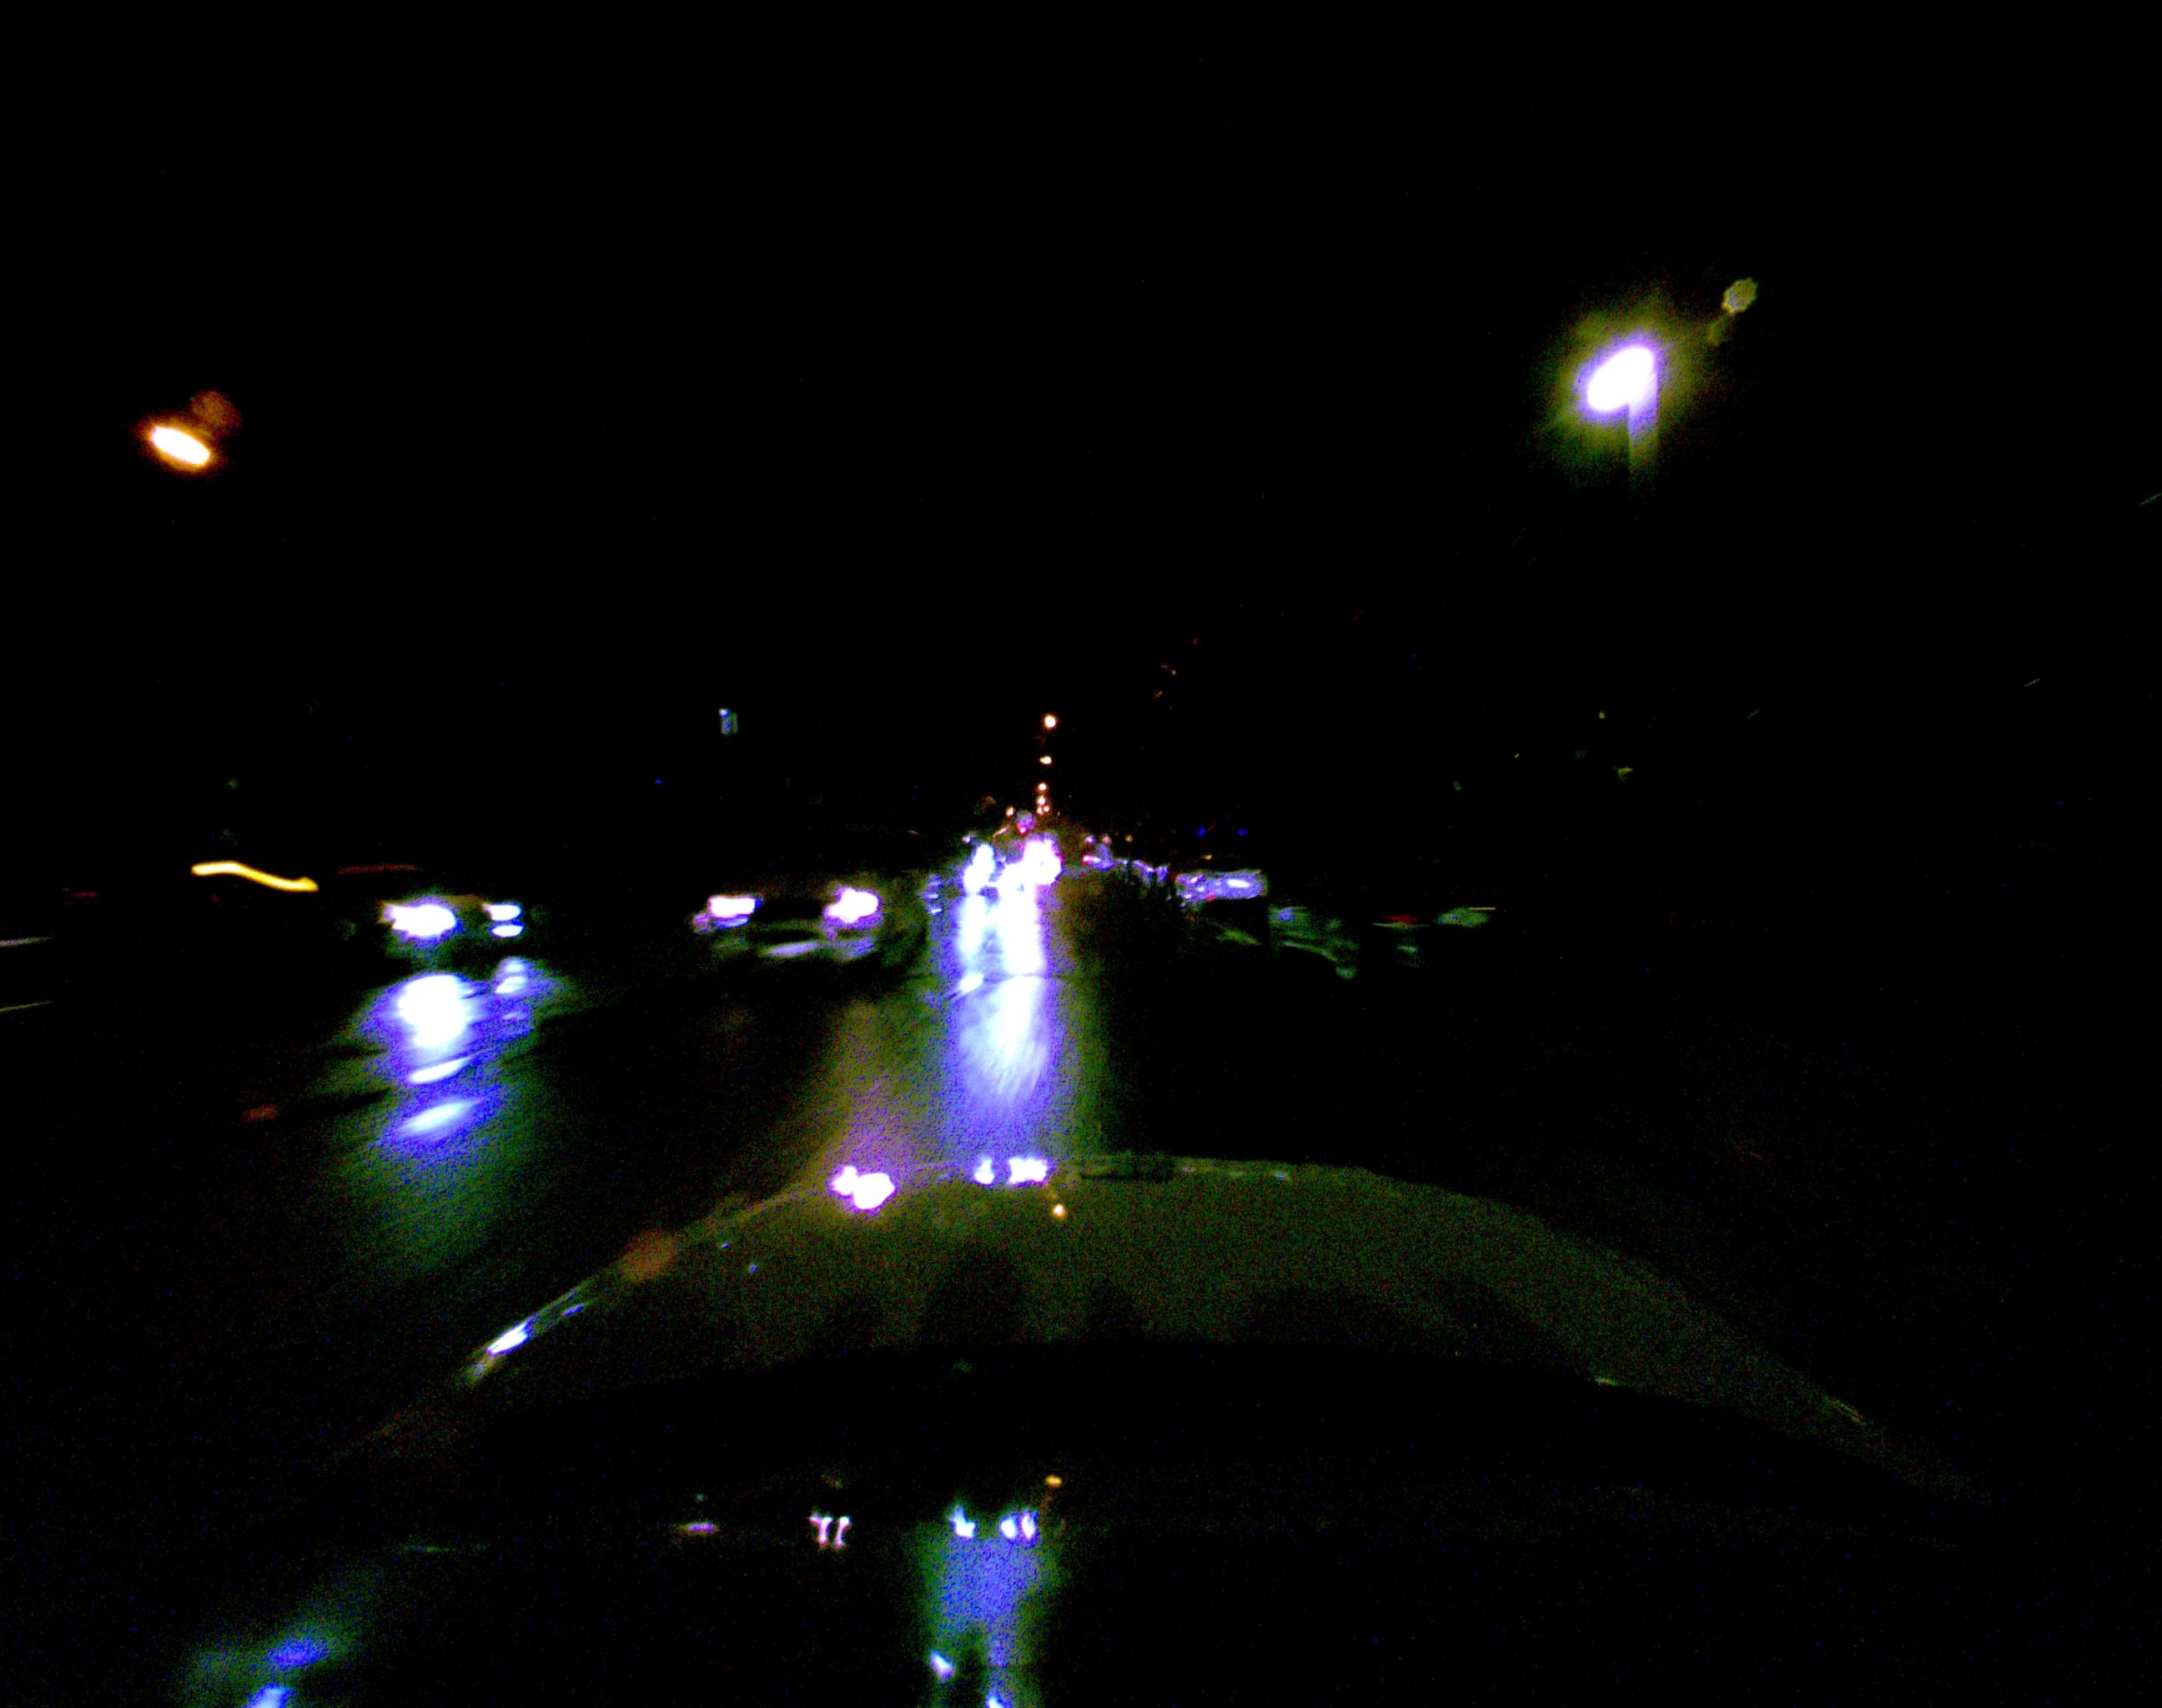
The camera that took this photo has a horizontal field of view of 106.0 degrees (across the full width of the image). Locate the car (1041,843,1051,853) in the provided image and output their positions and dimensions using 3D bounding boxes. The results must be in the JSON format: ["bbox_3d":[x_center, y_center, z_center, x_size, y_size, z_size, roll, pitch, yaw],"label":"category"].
[{"bbox_3d":[-6.648,-1.163,155.074,1.808,1.709,3.799,-3,1,-3],"label":"car"}]

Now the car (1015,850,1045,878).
[{"bbox_3d":[-2.829,0.540,45.699,1.543,1.499,2.792,1,1,-1],"label":"car"}]

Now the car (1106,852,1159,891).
[{"bbox_3d":[2.369,0.772,38.679,1.877,1.572,4.522,-4,1,-4],"label":"car"}]

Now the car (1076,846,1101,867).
[{"bbox_3d":[0.602,0.229,70.890,1.817,1.673,3.995,-3,1,-3],"label":"car"}]

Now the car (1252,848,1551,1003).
[{"bbox_3d":[3.766,0.705,10.659,1.785,1.449,4.786,-3,1,-3],"label":"car"}]

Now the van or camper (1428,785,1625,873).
[{"bbox_3d":[13.981,-0.768,25.799,5.044,2.527,2.172,-2,1,1],"label":"van or camper"}]

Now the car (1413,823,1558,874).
[{"bbox_3d":[14.048,-0.196,28.416,4.208,1.617,1.804,-2,1,-3],"label":"car"}]

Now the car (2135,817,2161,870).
[{"bbox_3d":[38.932,-0.435,27.341,4.637,1.805,1.907,-2,0,0],"label":"car"}]

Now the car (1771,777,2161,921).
[{"bbox_3d":[12.750,-0.089,11.777,1.899,1.695,4.257,0,1,-2],"label":"car"}]

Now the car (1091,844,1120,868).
[{"bbox_3d":[1.608,0.078,54.773,1.624,1.466,4.506,-3,1,-2],"label":"car"}]

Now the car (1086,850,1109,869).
[{"bbox_3d":[1.298,0.411,64.681,1.492,1.388,3.743,-3,1,-3],"label":"car"}]

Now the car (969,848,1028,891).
[{"bbox_3d":[-2.929,0.511,29.810,1.791,1.461,4.575,1,0,-2],"label":"car"}]

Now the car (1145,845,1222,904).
[{"bbox_3d":[3.371,0.627,27.472,1.710,1.707,4.181,-4,1,-4],"label":"car"}]

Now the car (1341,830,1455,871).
[{"bbox_3d":[12.918,-0.160,33.294,3.978,1.521,1.684,-2,1,-3],"label":"car"}]

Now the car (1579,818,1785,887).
[{"bbox_3d":[15.560,-0.065,21.487,1.823,1.547,4.866,-2,1,0],"label":"car"}]

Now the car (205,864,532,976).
[{"bbox_3d":[-12.001,1.051,13.782,4.651,1.619,2.009,-2,0,18],"label":"car"}]

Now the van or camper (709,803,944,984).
[{"bbox_3d":[-3.447,0.457,12.176,1.864,2.103,4.942,-1,0,0],"label":"van or camper"}]

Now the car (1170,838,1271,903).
[{"bbox_3d":[3.587,0.403,21.682,1.709,1.489,4.432,-2,0,-3],"label":"car"}]

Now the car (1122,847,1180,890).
[{"bbox_3d":[2.795,0.529,33.496,1.750,1.528,4.149,-4,1,-3],"label":"car"}]

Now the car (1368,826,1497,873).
[{"bbox_3d":[13.332,-0.172,31.037,4.208,1.617,1.684,-2,1,-3],"label":"car"}]

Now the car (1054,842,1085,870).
[{"bbox_3d":[-0.804,0.090,55.420,1.988,1.683,3.998,-1,2,-2],"label":"car"}]

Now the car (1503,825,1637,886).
[{"bbox_3d":[13.015,0.016,21.905,1.558,1.469,3.407,-2,1,0],"label":"car"}]

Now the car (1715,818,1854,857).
[{"bbox_3d":[26.778,-0.620,31.058,3.978,1.353,1.680,-2,1,-3],"label":"car"}]

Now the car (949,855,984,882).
[{"bbox_3d":[-7.002,0.866,50.218,1.573,1.457,4.641,-4,1,-2],"label":"car"}]
